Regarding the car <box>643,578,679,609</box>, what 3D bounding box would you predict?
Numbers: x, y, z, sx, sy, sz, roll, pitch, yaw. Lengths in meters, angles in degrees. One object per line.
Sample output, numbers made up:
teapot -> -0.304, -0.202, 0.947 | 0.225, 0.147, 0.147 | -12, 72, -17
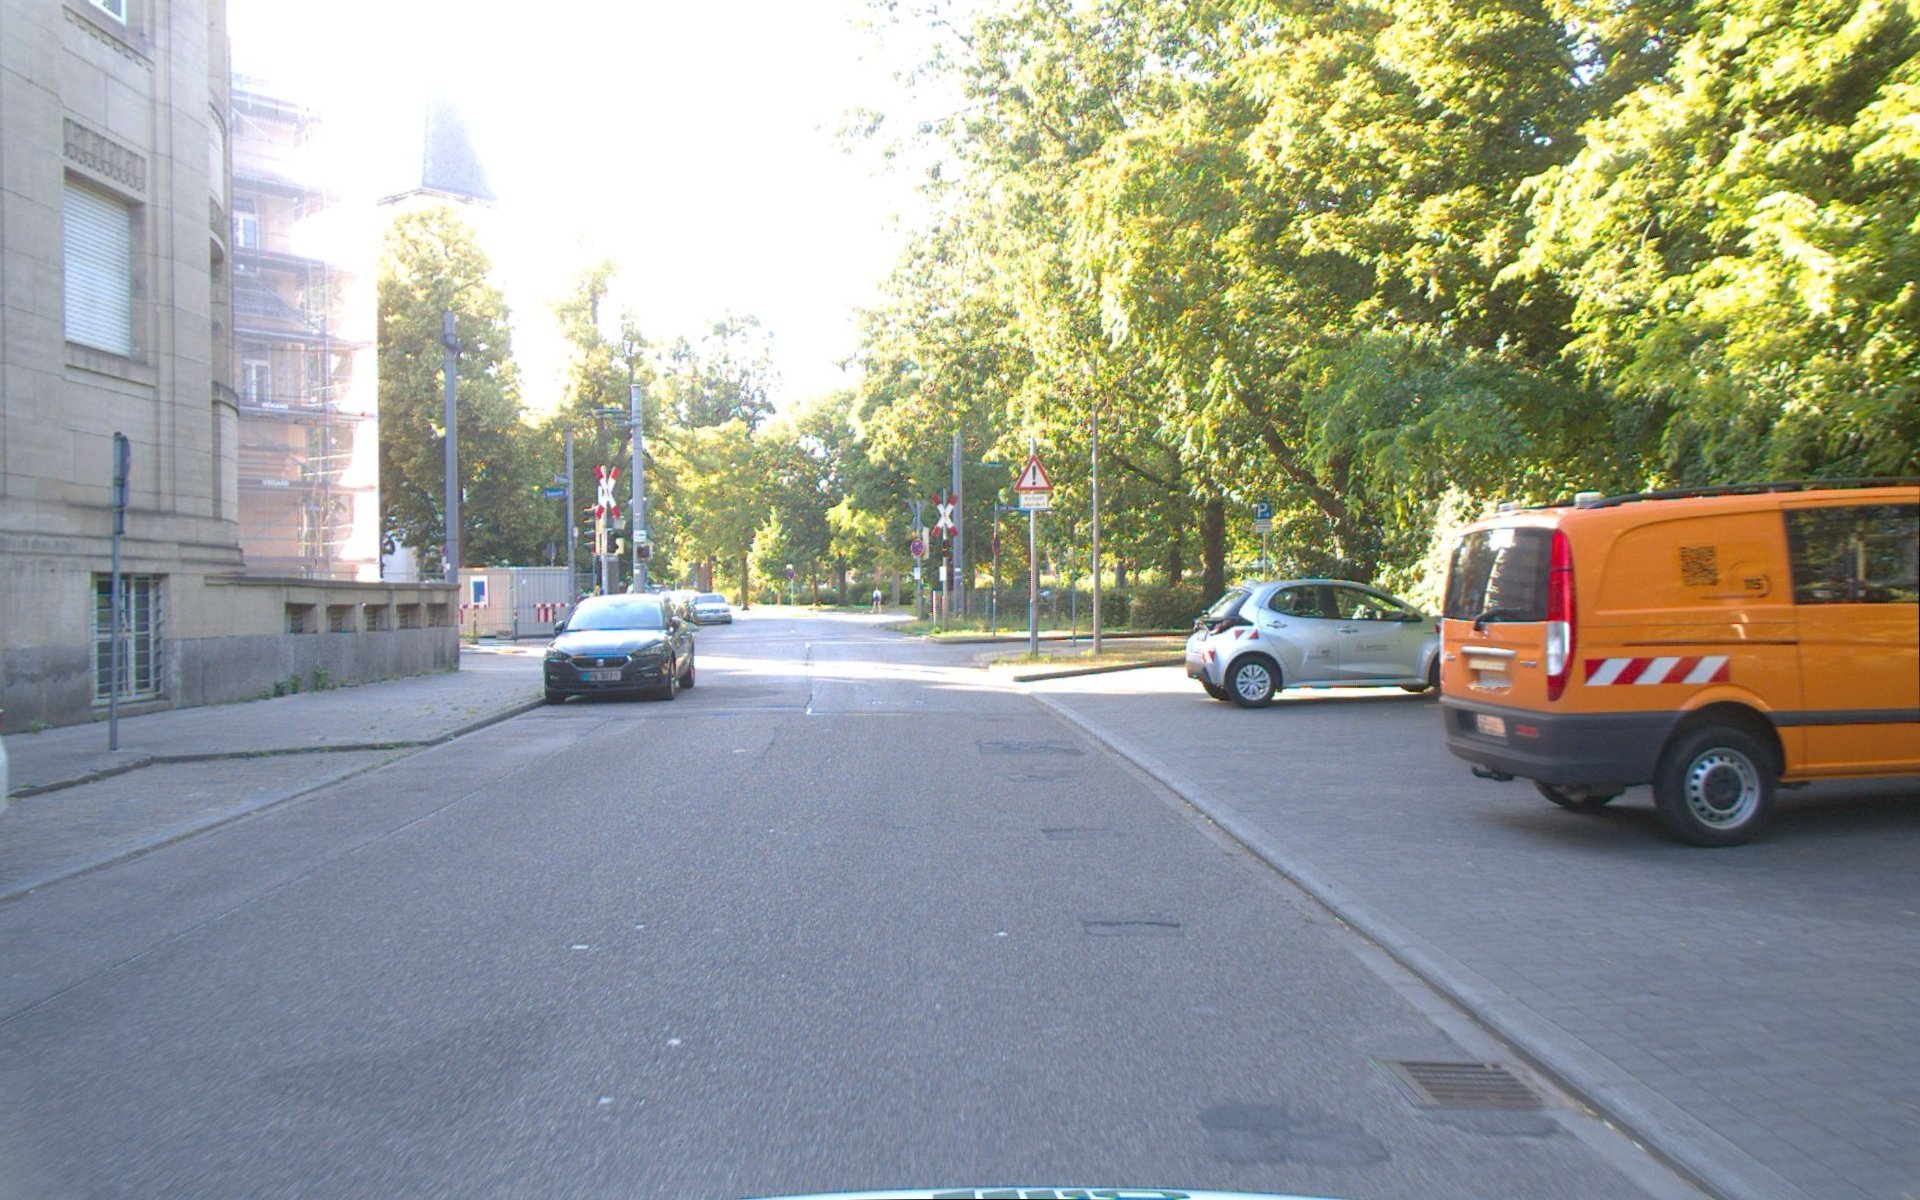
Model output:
car -> -19.910, -0.461, 109.984 | 1.821, 1.980, 4.819 | -1, 1, -16

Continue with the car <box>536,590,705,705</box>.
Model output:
car -> -4.831, 0.615, 24.076 | 1.708, 1.473, 4.207 | -1, 0, -2

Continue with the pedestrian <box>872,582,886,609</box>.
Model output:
pedestrian -> -4.797, -0.258, 98.379 | 0.758, 1.602, 0.767 | -1, 0, -7

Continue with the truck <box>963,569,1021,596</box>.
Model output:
truck -> 3.730, -2.072, 193.045 | 2.584, 3.082, 7.906 | -1, 1, -36

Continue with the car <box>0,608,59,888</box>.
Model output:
car -> -5.830, 0.795, 6.989 | 1.708, 1.460, 4.559 | 0, 0, -2

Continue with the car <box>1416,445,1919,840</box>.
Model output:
car -> 5.494, 0.141, 10.167 | 4.703, 2.032, 2.078 | -3, 1, -6

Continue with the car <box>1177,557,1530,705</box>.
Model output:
car -> 4.831, 0.358, 20.650 | 3.907, 1.573, 1.734 | -3, 1, -3

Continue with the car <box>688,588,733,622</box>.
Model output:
car -> -11.673, 0.201, 77.231 | 1.748, 1.440, 4.485 | -3, 1, -12
